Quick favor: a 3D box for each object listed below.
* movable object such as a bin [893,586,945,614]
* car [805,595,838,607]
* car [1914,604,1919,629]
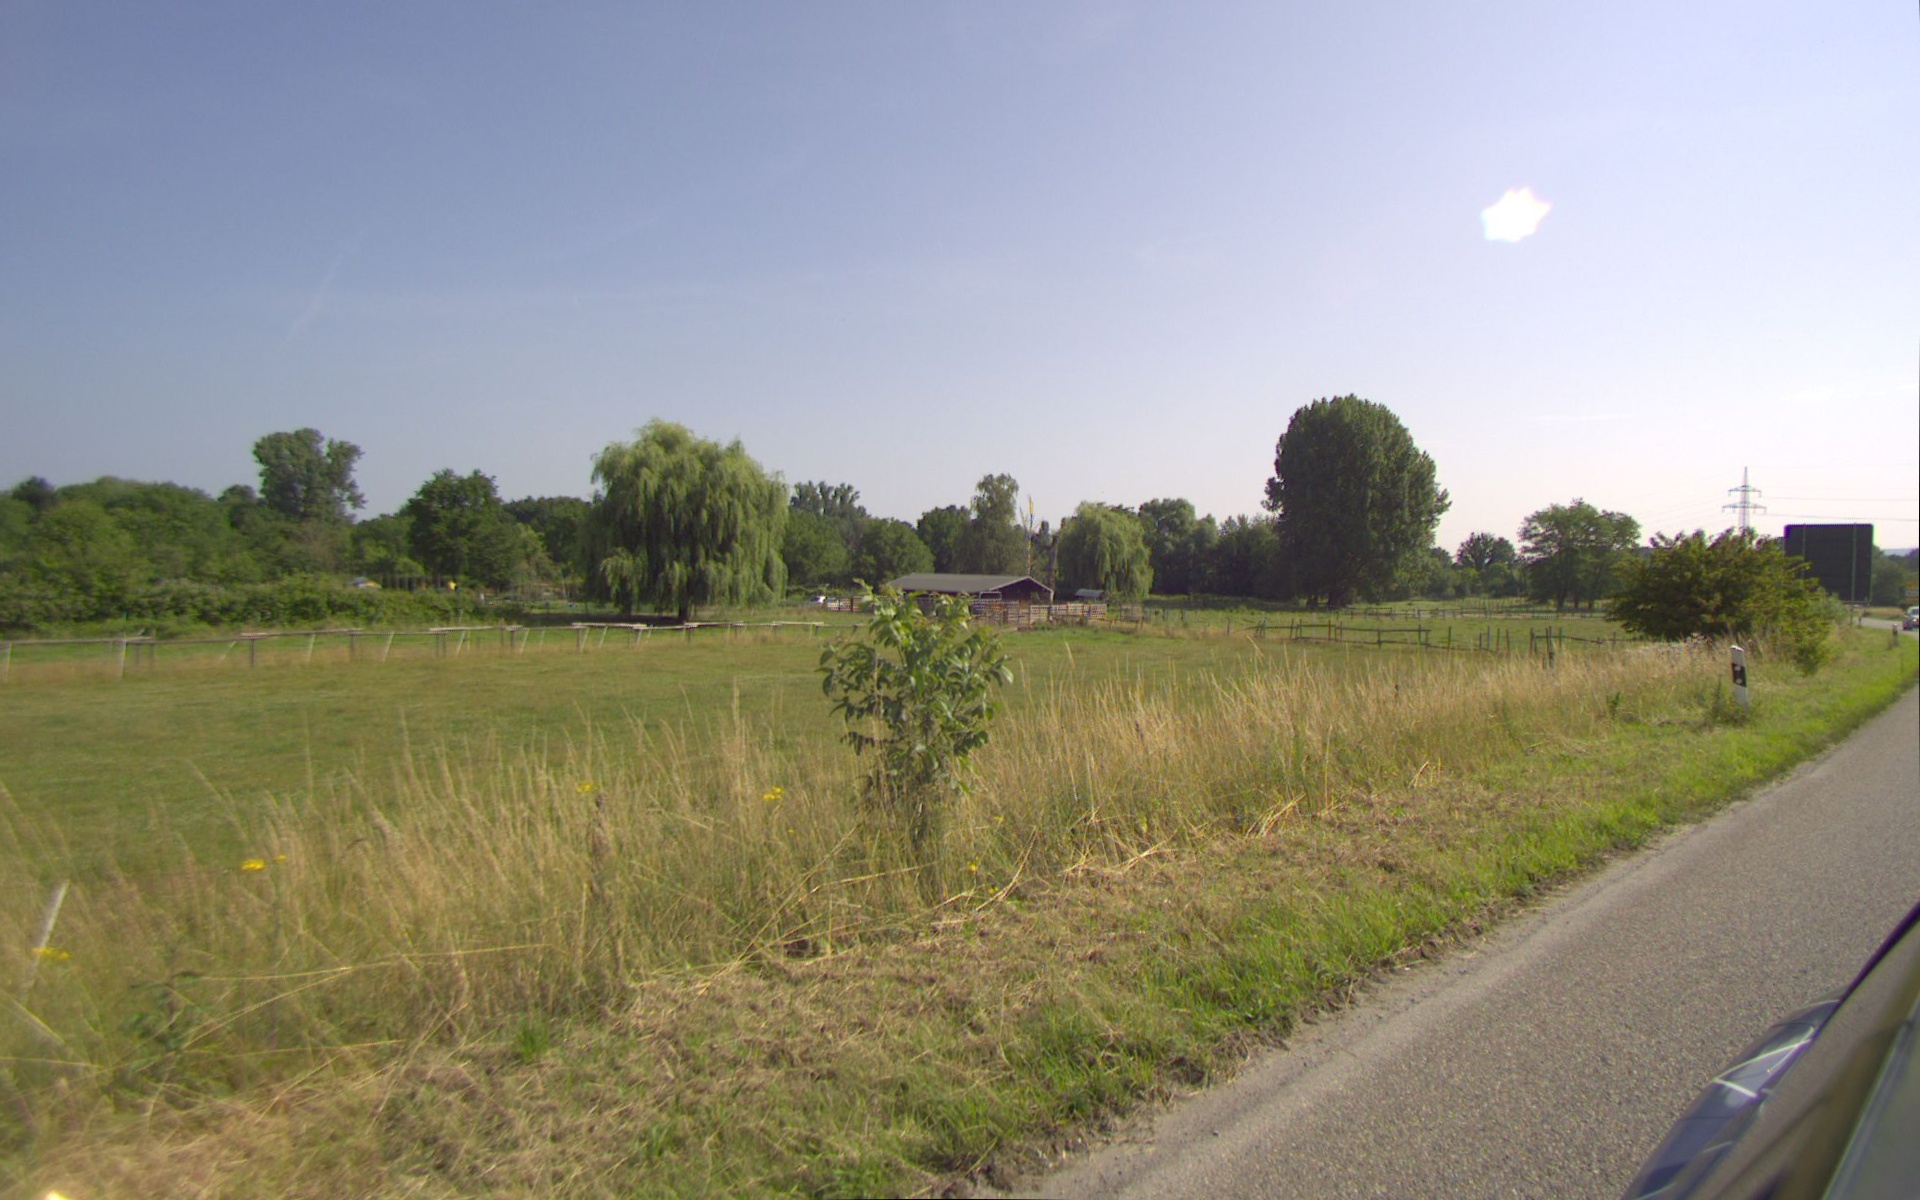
[{"bbox_3d":[-3.336,-0.014,82.919,1.991,2.222,4.102,-1,-1,41],"label":"movable object such as a bin"},{"bbox_3d":[-12.170,0.060,89.132,1.220,1.018,3.015,0,0,34],"label":"car"},{"bbox_3d":[63.769,1.072,65.970,1.990,1.600,3.854,0,0,39],"label":"car"}]
